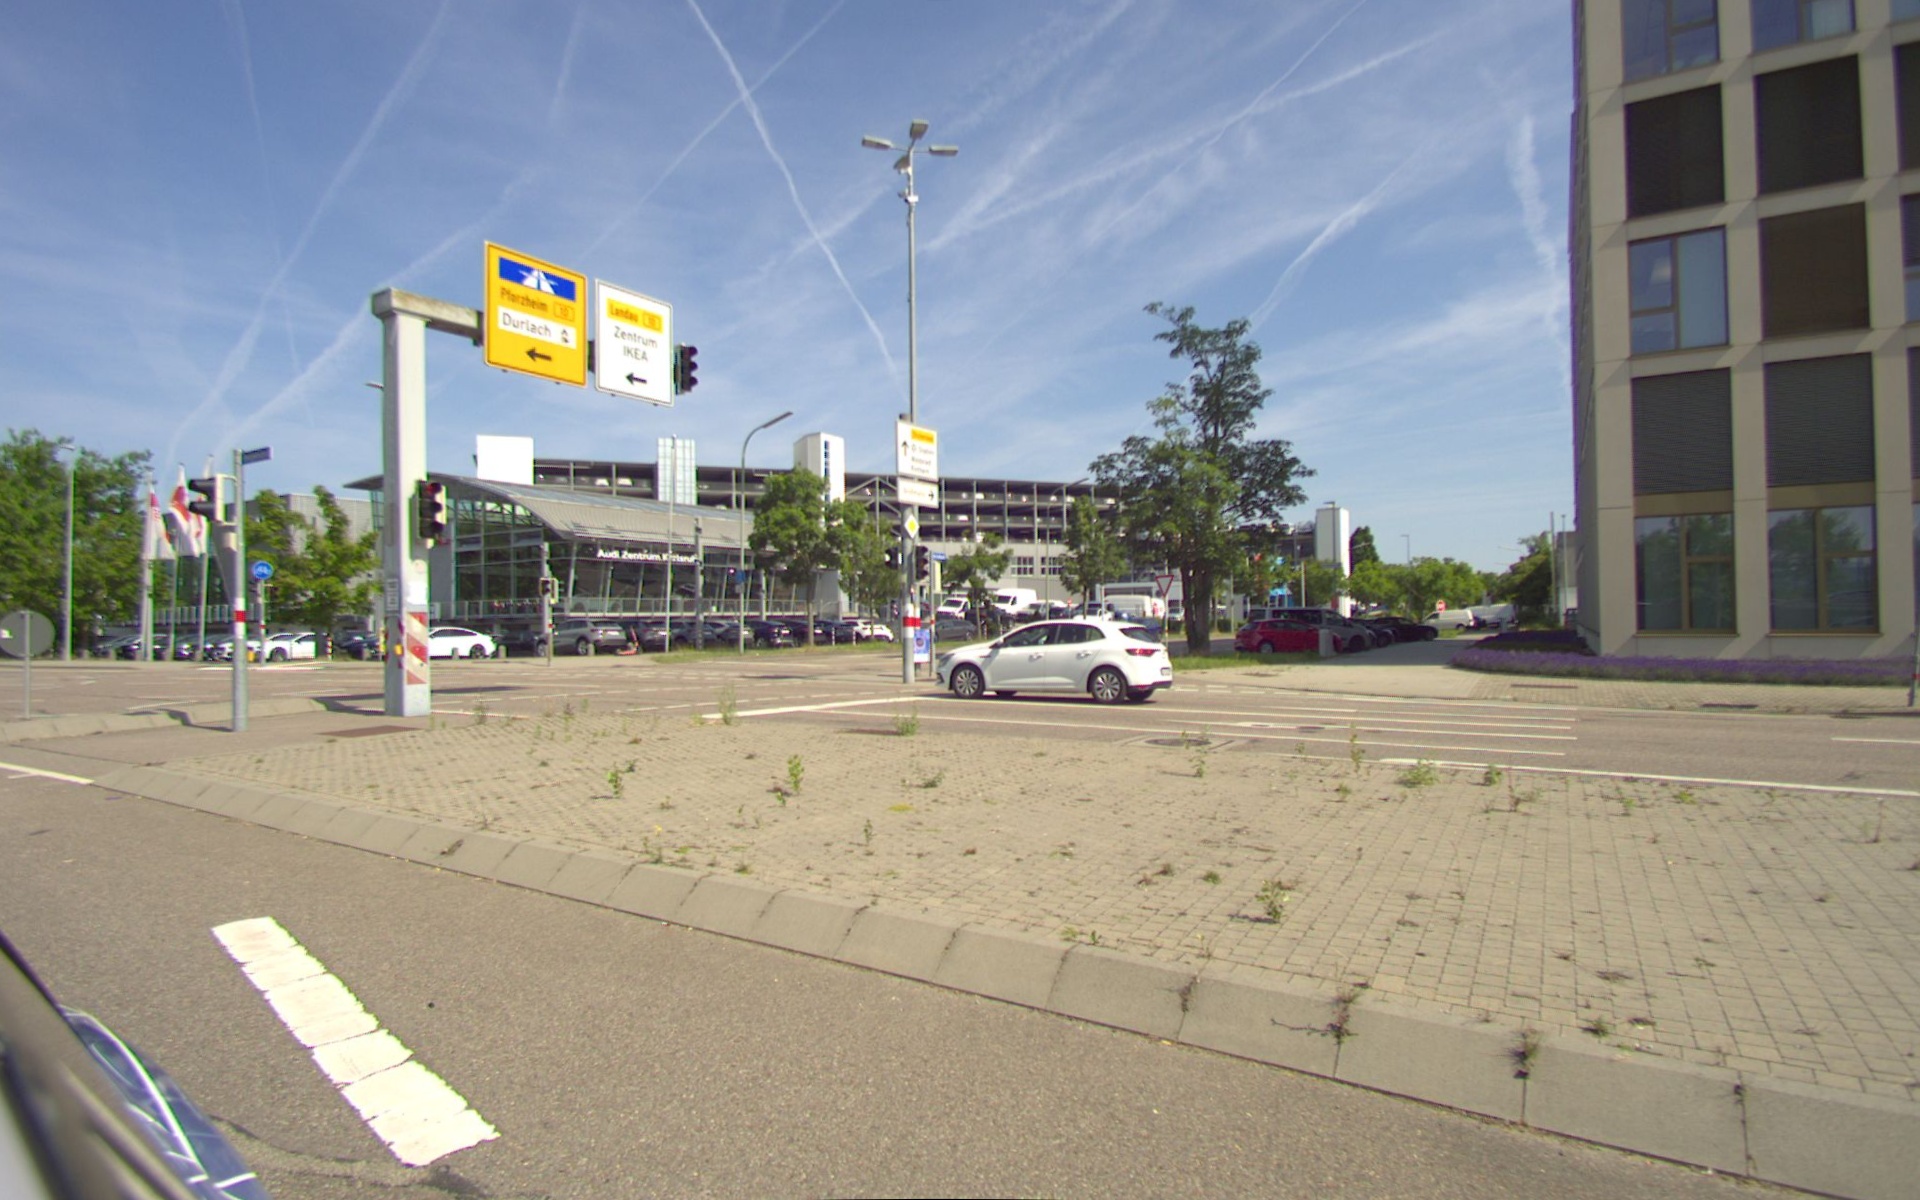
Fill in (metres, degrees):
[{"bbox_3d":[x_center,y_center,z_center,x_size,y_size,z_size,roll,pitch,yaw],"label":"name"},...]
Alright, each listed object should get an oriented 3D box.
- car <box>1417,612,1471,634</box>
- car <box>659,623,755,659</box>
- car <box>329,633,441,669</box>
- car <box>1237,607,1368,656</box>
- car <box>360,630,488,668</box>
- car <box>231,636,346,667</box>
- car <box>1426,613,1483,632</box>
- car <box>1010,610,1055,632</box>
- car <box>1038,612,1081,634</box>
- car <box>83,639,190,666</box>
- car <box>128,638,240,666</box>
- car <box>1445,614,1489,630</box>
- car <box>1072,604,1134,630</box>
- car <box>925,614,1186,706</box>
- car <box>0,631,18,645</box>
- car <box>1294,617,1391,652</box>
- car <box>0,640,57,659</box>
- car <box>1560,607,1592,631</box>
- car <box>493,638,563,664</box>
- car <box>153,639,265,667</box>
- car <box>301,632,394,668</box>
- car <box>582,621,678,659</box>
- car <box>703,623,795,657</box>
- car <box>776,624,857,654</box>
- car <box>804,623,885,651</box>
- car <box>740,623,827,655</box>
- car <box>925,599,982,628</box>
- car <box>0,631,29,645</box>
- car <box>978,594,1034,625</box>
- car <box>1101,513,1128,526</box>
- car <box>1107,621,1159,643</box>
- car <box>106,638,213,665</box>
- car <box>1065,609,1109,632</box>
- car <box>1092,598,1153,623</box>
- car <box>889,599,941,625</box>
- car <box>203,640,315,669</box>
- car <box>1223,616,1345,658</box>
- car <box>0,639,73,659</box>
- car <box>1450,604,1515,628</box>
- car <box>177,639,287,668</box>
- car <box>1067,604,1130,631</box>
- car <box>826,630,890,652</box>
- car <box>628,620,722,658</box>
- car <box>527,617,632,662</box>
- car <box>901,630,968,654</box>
[{"bbox_3d":[43.681,2.059,91.340,4.224,1.955,1.879,-2,-2,32],"label":"car"},{"bbox_3d":[-12.578,2.027,50.275,4.759,1.517,1.775,-5,-4,31],"label":"car"},{"bbox_3d":[-24.286,2.124,42.879,1.756,1.413,3.808,-2,-2,29],"label":"car"},{"bbox_3d":[14.077,1.278,41.696,4.734,1.835,1.902,-1,-2,-12],"label":"car"},{"bbox_3d":[-22.043,1.991,41.799,1.894,1.443,4.338,-2,-2,33],"label":"car"},{"bbox_3d":[-31.104,2.434,46.993,1.871,1.380,4.043,-2,-4,30],"label":"car"},{"bbox_3d":[46.779,2.141,95.720,4.675,1.802,1.879,-2,-2,32],"label":"car"},{"bbox_3d":[5.849,1.656,81.119,1.993,1.586,3.943,-2,-1,32],"label":"car"},{"bbox_3d":[7.838,1.796,79.504,1.991,1.586,3.947,-2,0,29],"label":"car"},{"bbox_3d":[-45.093,2.885,55.513,1.795,1.405,4.185,-2,-4,30],"label":"car"},{"bbox_3d":[-40.425,2.748,52.817,1.822,1.365,4.251,-2,-4,29],"label":"car"},{"bbox_3d":[51.552,2.244,102.881,3.856,1.484,1.791,-2,-2,32],"label":"car"},{"bbox_3d":[12.013,1.434,85.179,4.732,2.029,1.979,-2,-2,30],"label":"car"},{"bbox_3d":[1.665,1.054,18.056,4.314,1.472,1.770,-2,-3,29],"label":"car"},{"bbox_3d":[-110.557,4.313,115.473,1.684,1.511,4.154,-2,-4,32],"label":"car"},{"bbox_3d":[17.966,1.615,47.616,3.898,1.509,1.665,-1,-2,-11],"label":"car"},{"bbox_3d":[-63.374,3.316,67.650,1.684,1.204,4.154,-2,-4,32],"label":"car"},{"bbox_3d":[44.901,1.353,73.730,1.745,1.697,3.954,-2,-1,34],"label":"car"},{"bbox_3d":[-22.730,2.688,53.228,3.669,1.316,1.594,-2,-2,31],"label":"car"},{"bbox_3d":[-37.928,2.690,51.215,1.847,1.345,4.145,-2,-4,30],"label":"car"},{"bbox_3d":[-27.666,2.248,45.663,4.409,1.507,1.784,-2,-2,32],"label":"car"},{"bbox_3d":[-14.848,1.814,45.433,4.184,1.453,1.775,-5,-3,31],"label":"car"},{"bbox_3d":[-10.989,2.087,52.610,4.656,1.529,1.765,-5,-3,31],"label":"car"},{"bbox_3d":[-8.108,2.199,57.050,4.385,1.453,1.775,-4,-3,31],"label":"car"},{"bbox_3d":[-6.815,2.174,59.417,4.542,1.453,1.775,-4,-3,31],"label":"car"},{"bbox_3d":[-9.564,2.133,54.762,4.614,1.453,1.775,-5,-3,31],"label":"car"},{"bbox_3d":[-0.439,0.903,71.931,2.080,1.922,4.503,2,1,29],"label":"car"},{"bbox_3d":[-108.270,4.234,114.366,1.684,1.511,4.154,-2,-4,32],"label":"car"},{"bbox_3d":[3.787,0.725,82.497,2.081,2.360,5.491,-3,-1,32],"label":"car"},{"bbox_3d":[26.018,-13.551,170.457,3.979,1.729,2.019,-1,-2,27],"label":"car"},{"bbox_3d":[10.659,1.942,62.180,1.656,1.299,3.758,-2,-2,35],"label":"car"},{"bbox_3d":[-42.756,2.797,54.169,1.827,1.365,4.082,-2,-4,29],"label":"car"},{"bbox_3d":[9.858,1.543,78.333,1.991,1.586,3.947,-2,0,29],"label":"car"},{"bbox_3d":[14.030,0.947,87.461,4.732,2.029,1.979,-2,-2,30],"label":"car"},{"bbox_3d":[-3.778,1.034,85.262,4.054,2.029,1.834,-2,-2,30],"label":"car"},{"bbox_3d":[-33.368,2.617,48.298,1.862,1.329,3.958,-2,-4,31],"label":"car"},{"bbox_3d":[12.286,1.403,38.496,3.964,1.426,1.812,-1,-2,-11],"label":"car"},{"bbox_3d":[-61.199,3.256,66.443,1.684,1.256,4.154,-2,-4,32],"label":"car"},{"bbox_3d":[56.591,1.743,109.661,5.891,2.450,2.348,-2,-2,35],"label":"car"},{"bbox_3d":[-35.584,2.651,49.584,1.832,1.329,3.956,-2,-4,32],"label":"car"},{"bbox_3d":[11.326,1.447,82.914,4.732,2.029,1.979,-2,-2,30],"label":"car"},{"bbox_3d":[-7.004,2.812,69.664,3.958,1.453,1.803,0,-2,-30],"label":"car"},{"bbox_3d":[-13.515,1.854,47.897,4.359,1.556,1.775,-5,-4,31],"label":"car"},{"bbox_3d":[-16.259,1.691,43.184,4.580,1.626,1.800,-5,-4,32],"label":"car"},{"bbox_3d":[-1.649,2.724,65.787,3.959,1.453,1.803,0,-2,-33],"label":"car"}]
